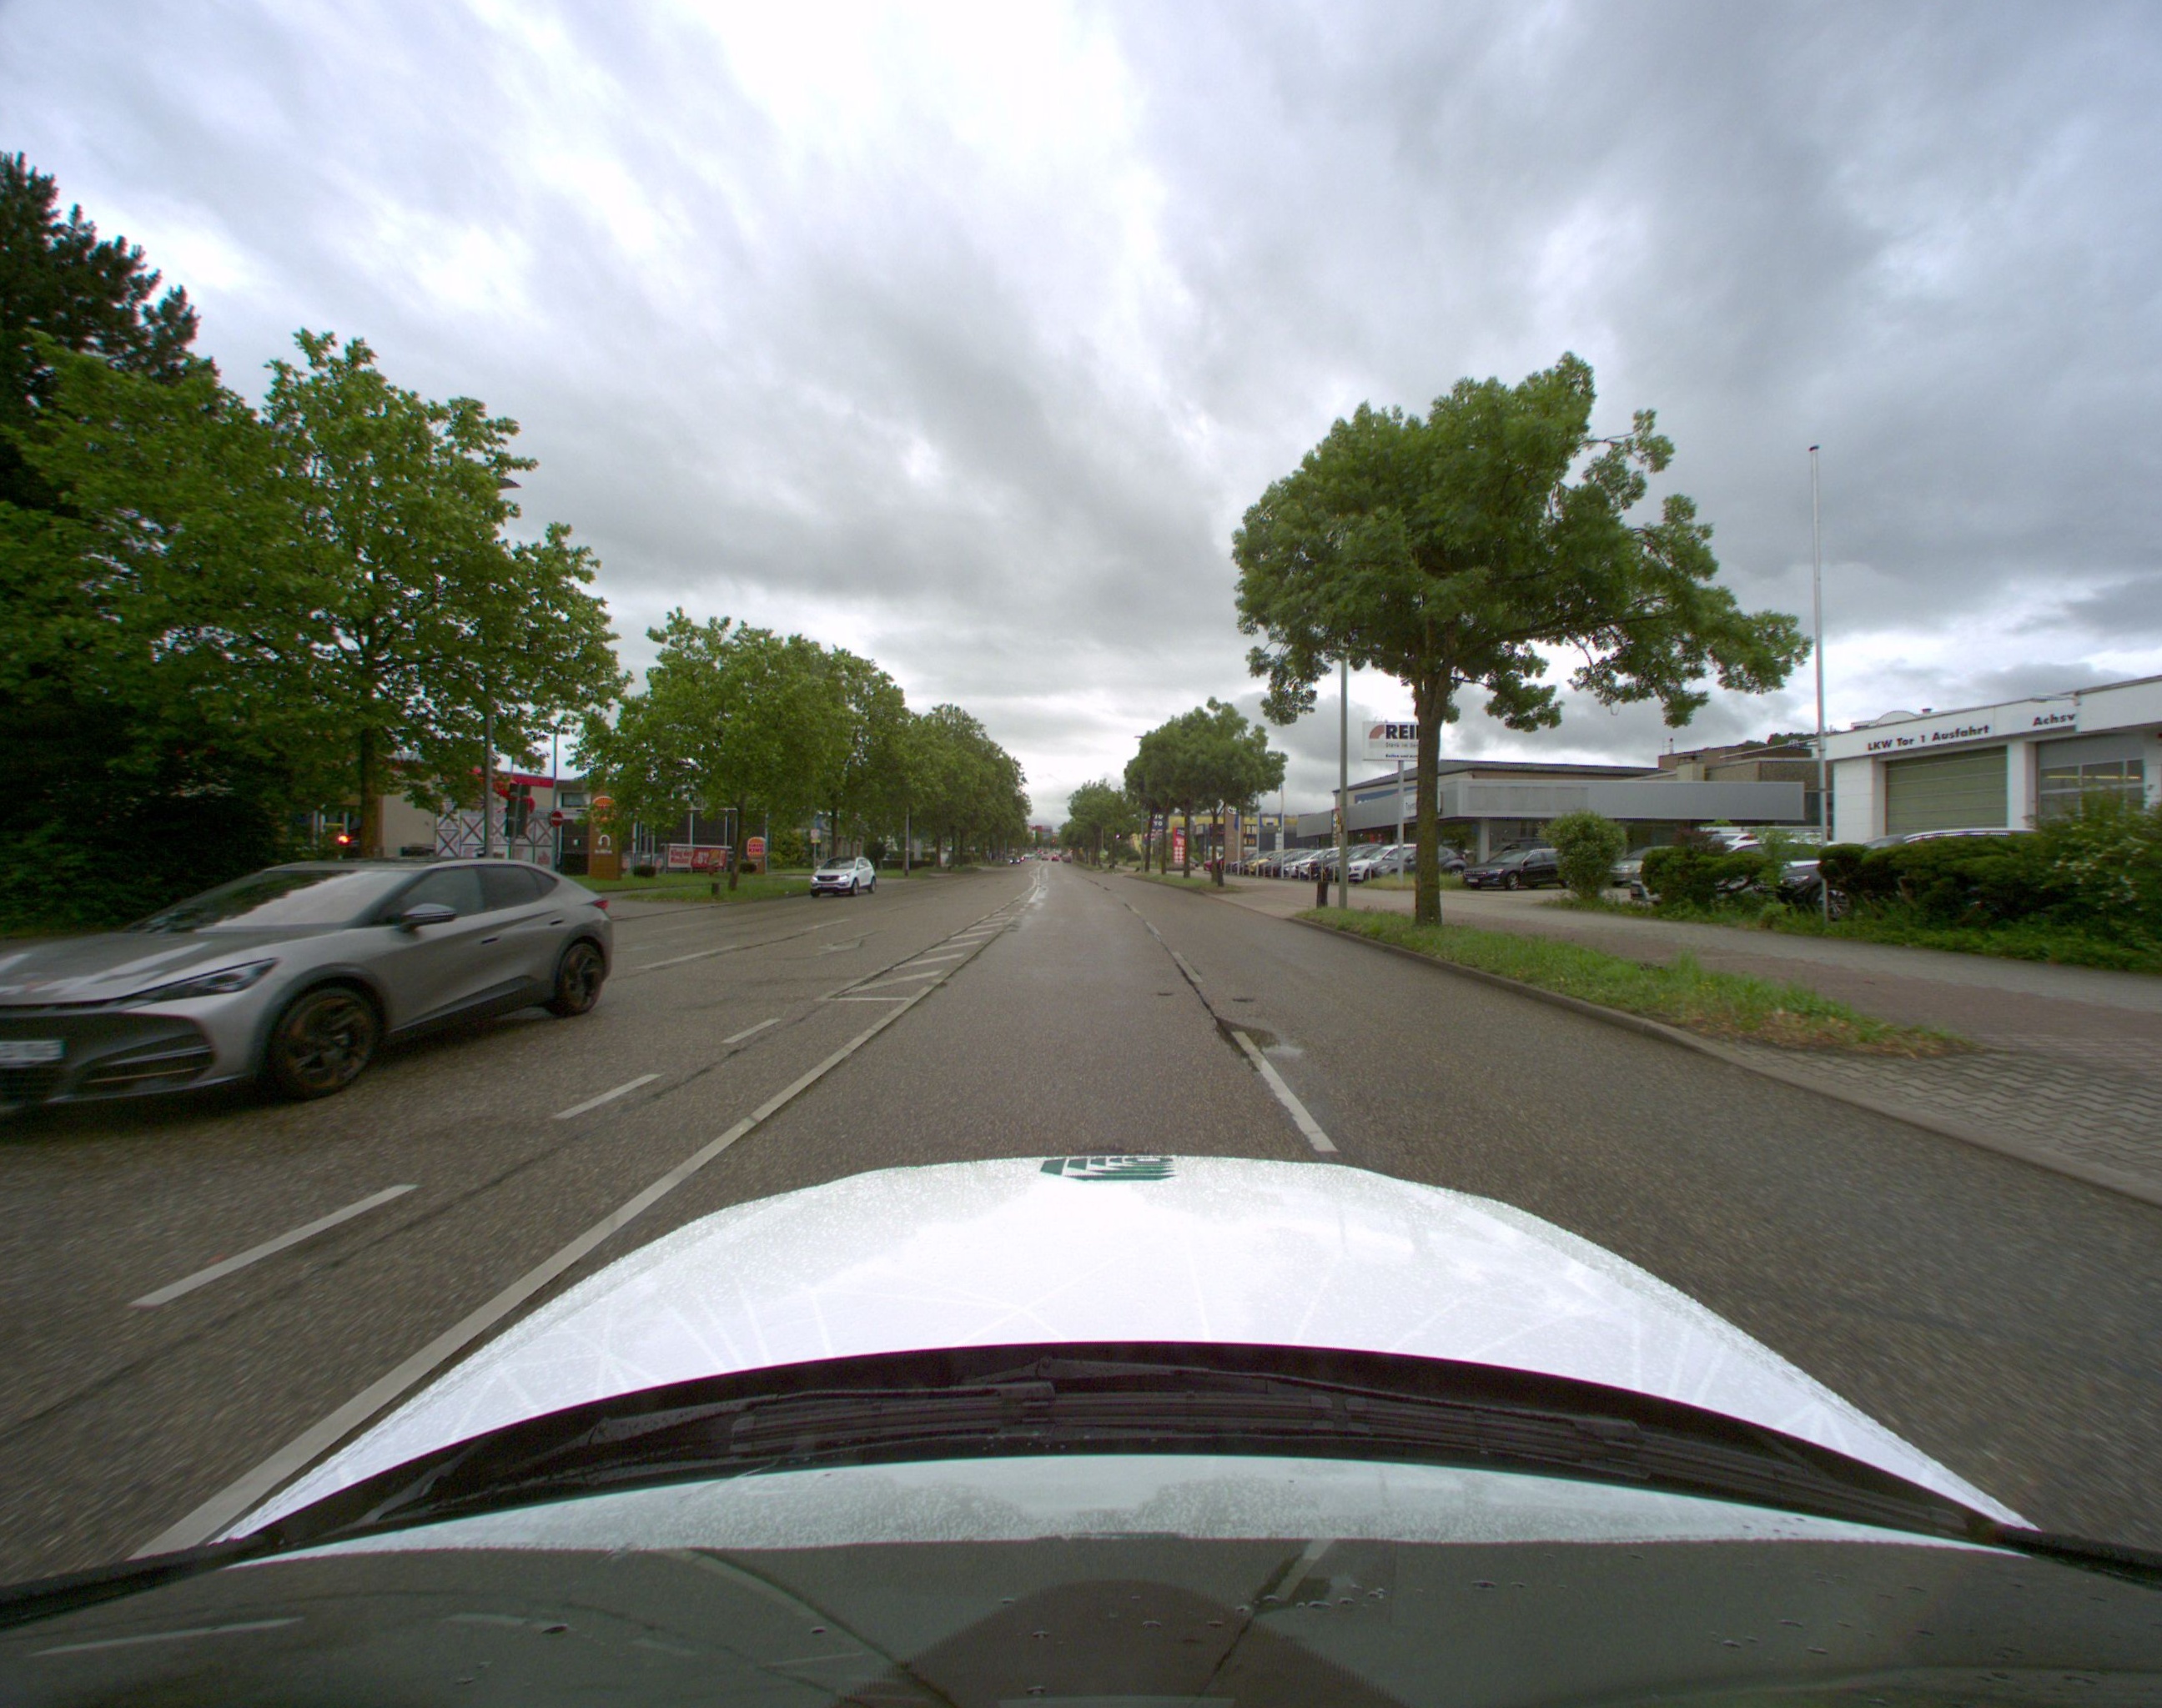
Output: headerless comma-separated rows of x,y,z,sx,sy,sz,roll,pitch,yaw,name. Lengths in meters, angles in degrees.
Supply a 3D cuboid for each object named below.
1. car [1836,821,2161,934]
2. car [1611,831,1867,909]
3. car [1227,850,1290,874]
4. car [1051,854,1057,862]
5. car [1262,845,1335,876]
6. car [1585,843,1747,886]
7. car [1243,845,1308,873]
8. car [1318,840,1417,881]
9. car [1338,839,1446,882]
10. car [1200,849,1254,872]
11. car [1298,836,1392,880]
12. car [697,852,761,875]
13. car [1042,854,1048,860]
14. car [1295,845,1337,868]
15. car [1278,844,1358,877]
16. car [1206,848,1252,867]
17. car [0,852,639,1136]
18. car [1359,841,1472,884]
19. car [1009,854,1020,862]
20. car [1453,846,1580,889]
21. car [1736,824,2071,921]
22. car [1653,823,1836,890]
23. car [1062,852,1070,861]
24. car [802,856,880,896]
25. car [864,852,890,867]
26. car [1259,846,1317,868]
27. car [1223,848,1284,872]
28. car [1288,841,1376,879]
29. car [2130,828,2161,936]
15.230,0.347,13.136,4.111,1.662,1.829,-1,1,15,car
14.554,0.368,18.317,4.021,1.597,1.994,-1,0,19,car
12.210,0.540,56.193,3.976,1.538,1.799,-1,0,-2,car
-7.709,1.157,233.692,1.740,2.013,3.999,-1,0,-1,car
13.133,0.376,49.346,3.973,1.786,1.812,-1,0,0,car
21.845,0.387,30.536,4.637,1.498,2.000,-1,0,0,car
12.832,0.344,53.889,3.832,1.566,1.664,-4,0,-5,car
13.399,0.294,38.240,3.974,1.584,1.812,-4,0,0,car
13.688,0.264,35.989,3.974,1.543,1.812,-5,0,0,car
11.530,0.494,64.409,3.831,1.603,1.794,-3,0,-2,car
13.062,0.204,40.438,3.974,1.786,1.812,-5,0,0,car
-20.564,0.554,47.631,3.159,1.155,1.293,2,0,6,car
-11.459,0.998,257.020,1.740,1.701,3.999,0,0,-1,car
17.468,0.189,60.594,1.869,1.621,4.121,-2,0,-1,car
13.267,0.355,45.695,3.973,1.786,1.812,-1,0,0,car
16.907,0.409,93.163,4.824,2.014,1.982,0,-1,-12,car
-5.838,0.805,6.819,1.806,1.562,4.596,-1,-1,-1,car
13.660,0.340,33.420,3.823,1.461,1.826,-4,0,-2,car
-12.719,0.817,155.058,1.799,1.463,3.843,-1,0,-1,car
15.774,0.471,29.629,3.668,1.464,1.793,-1,0,-1,car
15.349,0.322,15.518,4.106,1.662,1.831,-1,1,22,car
22.302,0.080,27.486,4.641,2.149,1.963,-1,0,-2,car
-3.491,0.551,189.989,1.740,2.013,3.999,0,0,-1,car
-10.249,0.921,35.105,1.921,1.619,4.400,-1,-1,2,car
-20.731,0.574,82.799,1.819,1.486,3.935,-1,0,-3,car
16.361,0.216,64.456,4.093,1.621,1.882,-2,0,2,car
12.318,0.420,58.265,3.976,1.647,1.844,-1,0,-2,car
13.273,0.296,43.201,3.978,1.587,1.810,-5,1,-3,car
17.039,0.352,10.615,3.900,1.523,1.739,-1,0,13,car
